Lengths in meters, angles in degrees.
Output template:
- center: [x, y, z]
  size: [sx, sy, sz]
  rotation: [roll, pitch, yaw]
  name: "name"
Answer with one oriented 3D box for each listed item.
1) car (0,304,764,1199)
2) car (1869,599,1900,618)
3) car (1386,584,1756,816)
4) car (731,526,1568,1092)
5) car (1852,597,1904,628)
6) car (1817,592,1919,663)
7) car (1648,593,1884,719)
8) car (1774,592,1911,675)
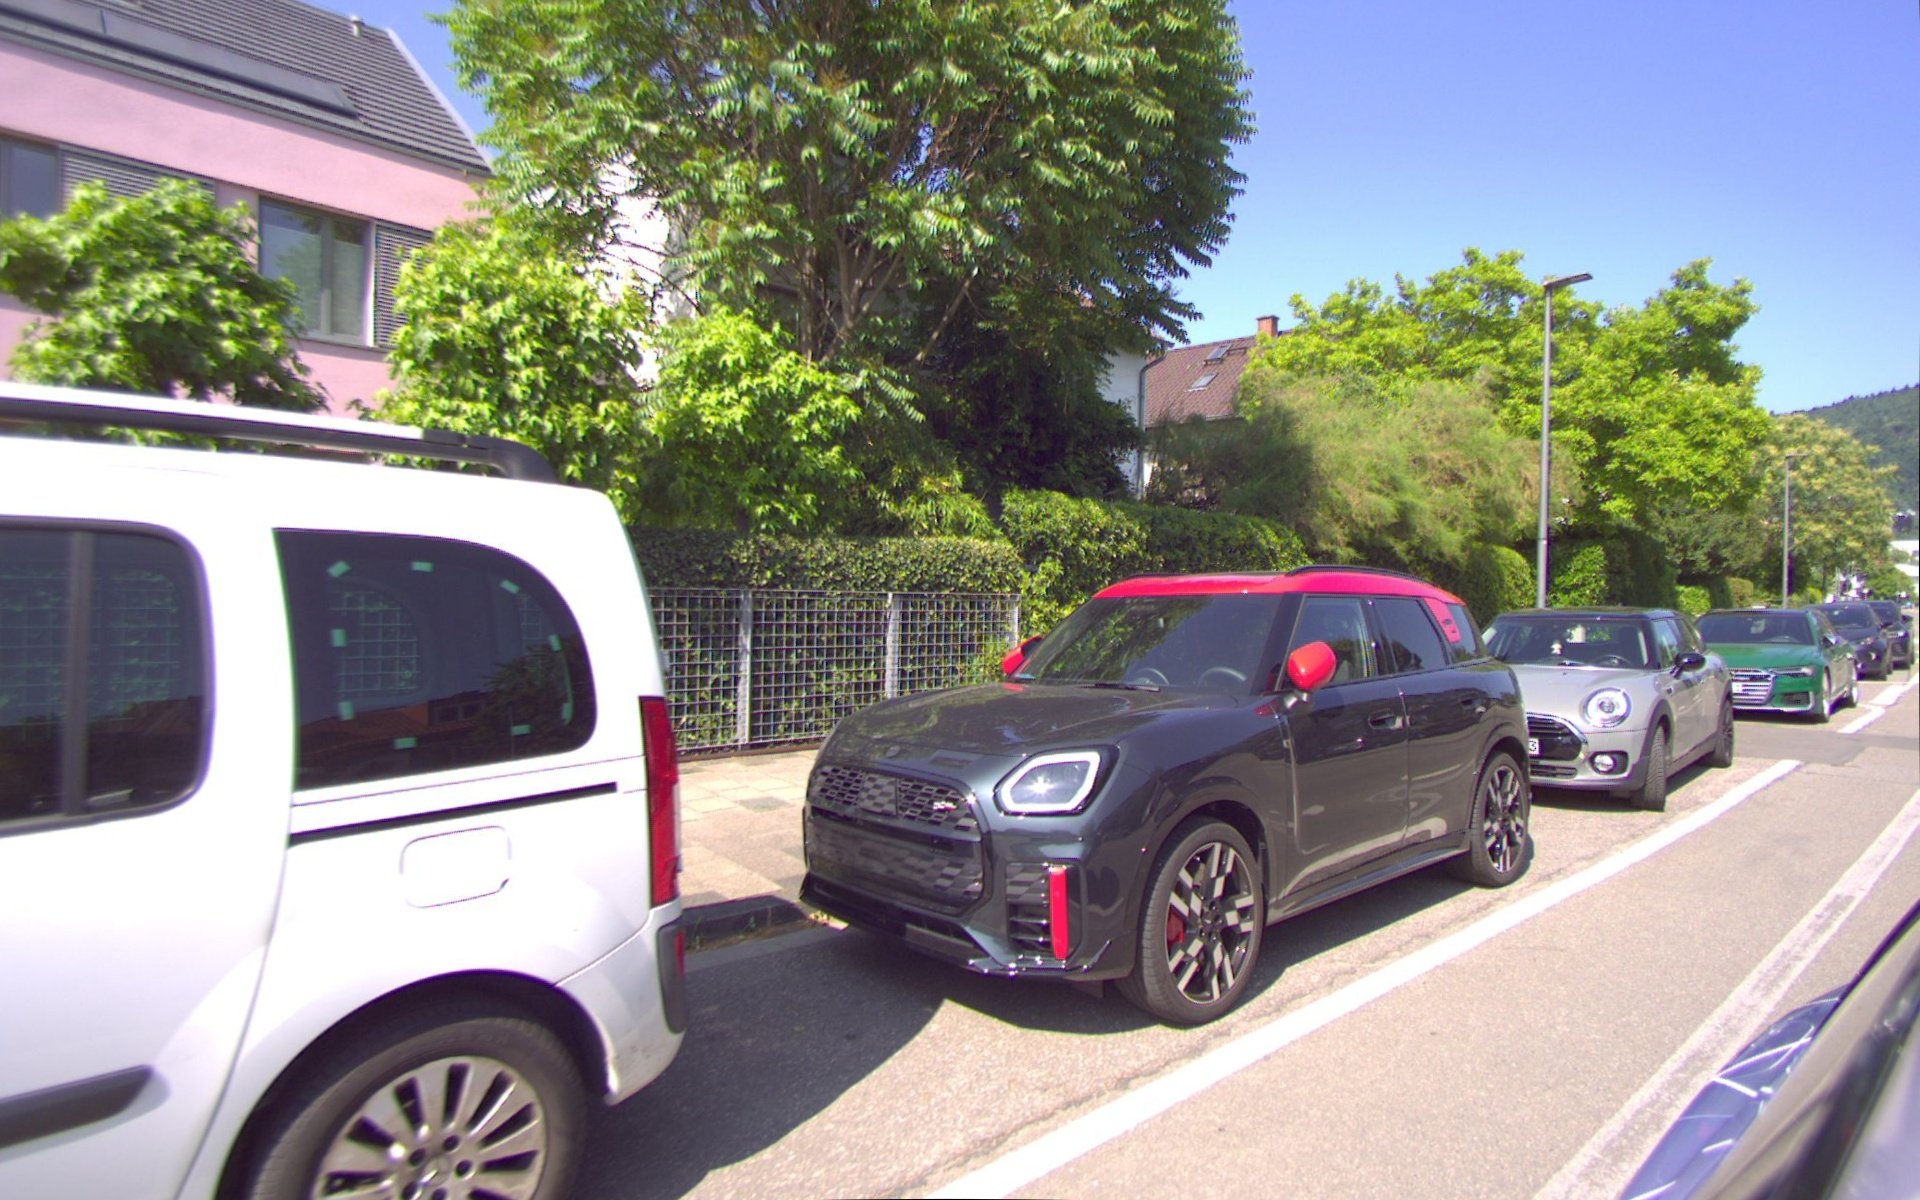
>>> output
- center: [-2.754, 0.488, 1.617]
  size: [4.518, 1.850, 1.765]
  rotation: [-1, -1, -41]
  name: "car"
- center: [90.952, 0.792, 99.611]
  size: [1.990, 1.727, 3.944]
  rotation: [1, 1, 39]
  name: "car"
- center: [5.358, 0.658, 8.637]
  size: [4.002, 1.461, 1.763]
  rotation: [1, 1, -45]
  name: "car"
- center: [1.224, 0.601, 4.953]
  size: [4.237, 1.613, 1.765]
  rotation: [1, 0, -41]
  name: "car"
- center: [53.930, 0.685, 59.520]
  size: [1.990, 1.727, 3.944]
  rotation: [1, 1, 39]
  name: "car"
- center: [22.535, 0.648, 24.828]
  size: [4.523, 1.579, 1.813]
  rotation: [1, -2, -44]
  name: "car"
- center: [11.403, 0.703, 14.196]
  size: [4.705, 1.482, 1.814]
  rotation: [1, -2, -42]
  name: "car"
- center: [18.589, 0.701, 21.262]
  size: [3.852, 1.579, 1.812]
  rotation: [1, -4, -45]
  name: "car"
